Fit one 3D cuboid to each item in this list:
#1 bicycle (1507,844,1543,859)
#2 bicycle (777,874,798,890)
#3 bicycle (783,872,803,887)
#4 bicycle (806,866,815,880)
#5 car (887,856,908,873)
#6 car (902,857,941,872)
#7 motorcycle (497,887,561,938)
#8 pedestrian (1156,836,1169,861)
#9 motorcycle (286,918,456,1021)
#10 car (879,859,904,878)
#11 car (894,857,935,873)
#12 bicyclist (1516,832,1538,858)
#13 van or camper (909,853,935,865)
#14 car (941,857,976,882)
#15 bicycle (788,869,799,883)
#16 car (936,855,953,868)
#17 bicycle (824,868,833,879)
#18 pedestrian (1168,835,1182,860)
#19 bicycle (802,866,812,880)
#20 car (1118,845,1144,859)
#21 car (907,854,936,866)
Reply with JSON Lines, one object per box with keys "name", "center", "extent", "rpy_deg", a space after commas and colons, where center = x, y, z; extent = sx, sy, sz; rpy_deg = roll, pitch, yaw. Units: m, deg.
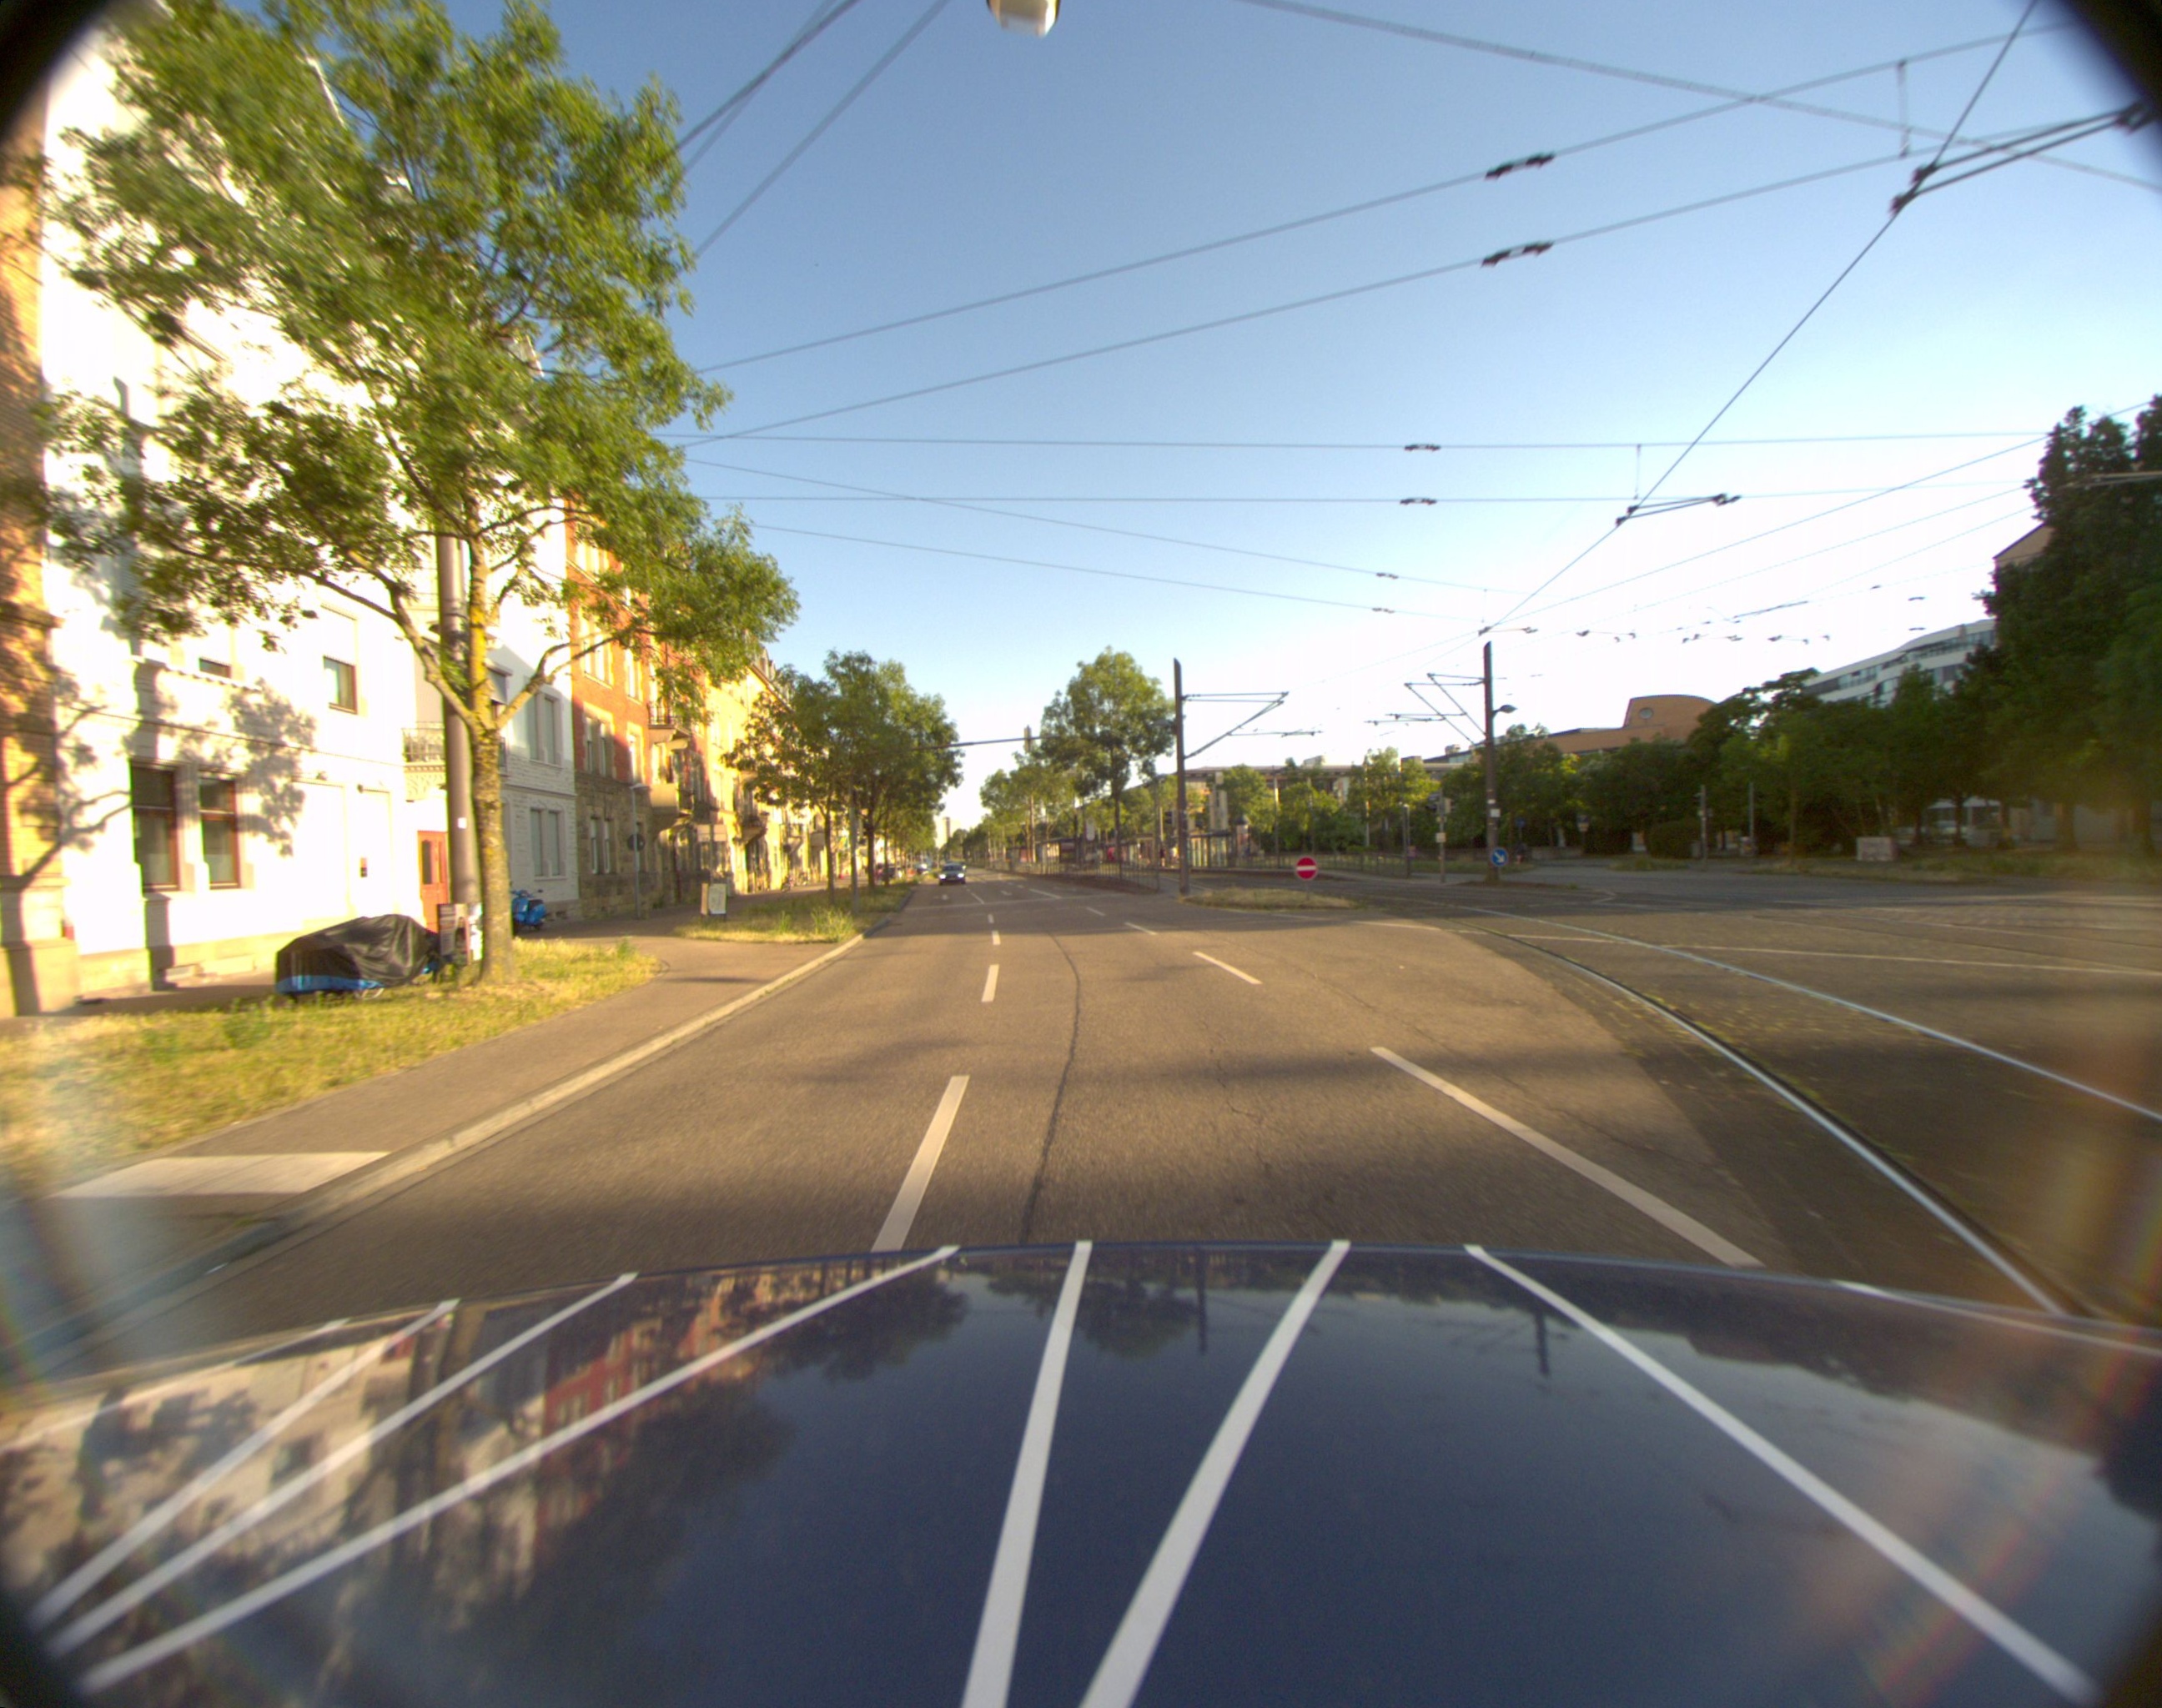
{"name": "bicycle", "center": [26.459, -0.164, 45.333], "extent": [0.776, 0.816, 1.964], "rpy_deg": [-3, 1, -8]}
{"name": "bicycle", "center": [-19.182, 1.829, 49.716], "extent": [0.875, 0.911, 2.083], "rpy_deg": [-1, 1, -9]}
{"name": "bicycle", "center": [-19.781, 1.730, 52.201], "extent": [0.736, 0.942, 2.338], "rpy_deg": [-1, 1, -7]}
{"name": "bicycle", "center": [-24.393, 1.690, 68.553], "extent": [0.485, 1.158, 1.744], "rpy_deg": [3, 0, -10]}
{"name": "car", "center": [-18.426, 1.055, 76.329], "extent": [1.731, 1.503, 4.268], "rpy_deg": [-6, 1, -11]}
{"name": "car", "center": [-19.228, 1.239, 91.711], "extent": [4.278, 1.513, 1.849], "rpy_deg": [-3, 1, 22]}
{"name": "motorcycle", "center": [-15.062, 1.569, 20.795], "extent": [0.555, 1.207, 2.070], "rpy_deg": [-4, 1, -12]}
{"name": "pedestrian", "center": [6.640, -0.469, 62.017], "extent": [0.772, 2.002, 1.126], "rpy_deg": [-3, 1, -8]}
{"name": "motorcycle", "center": [-9.190, 1.456, 9.941], "extent": [0.606, 1.038, 1.743], "rpy_deg": [-3, 1, -4]}
{"name": "car", "center": [-16.678, 1.281, 67.039], "extent": [1.709, 1.440, 4.284], "rpy_deg": [-6, 1, -10]}
{"name": "car", "center": [-19.545, 1.250, 89.203], "extent": [4.332, 1.562, 2.004], "rpy_deg": [-4, 0, 22]}
{"name": "bicyclist", "center": [26.475, -0.526, 45.129], "extent": [0.770, 1.459, 0.827], "rpy_deg": [-3, 1, -8]}
{"name": "van or camper", "center": [-38.422, 1.174, 183.532], "extent": [5.639, 2.796, 2.207], "rpy_deg": [-2, 1, 21]}
{"name": "car", "center": [-8.858, 1.099, 55.211], "extent": [1.999, 1.655, 3.998], "rpy_deg": [-2, 1, -4]}
{"name": "bicycle", "center": [-22.786, 1.732, 60.190], "extent": [0.485, 1.000, 1.744], "rpy_deg": [-3, 1, -10]}
{"name": "car", "center": [-20.217, 1.100, 112.478], "extent": [1.999, 1.655, 3.998], "rpy_deg": [-2, 1, -4]}
{"name": "bicycle", "center": [-26.852, 2.047, 80.821], "extent": [0.574, 1.067, 1.895], "rpy_deg": [-2, 1, -11]}
{"name": "pedestrian", "center": [7.560, -0.540, 61.405], "extent": [0.772, 2.002, 1.126], "rpy_deg": [-3, 1, -8]}
{"name": "bicycle", "center": [-24.054, 1.649, 66.681], "extent": [0.485, 1.158, 1.744], "rpy_deg": [3, 0, -10]}
{"name": "car", "center": [6.057, -0.226, 92.079], "extent": [2.000, 1.543, 4.889], "rpy_deg": [-3, 1, -9]}
{"name": "car", "center": [-26.458, 0.970, 125.892], "extent": [4.422, 1.682, 1.919], "rpy_deg": [-3, 1, 25]}
